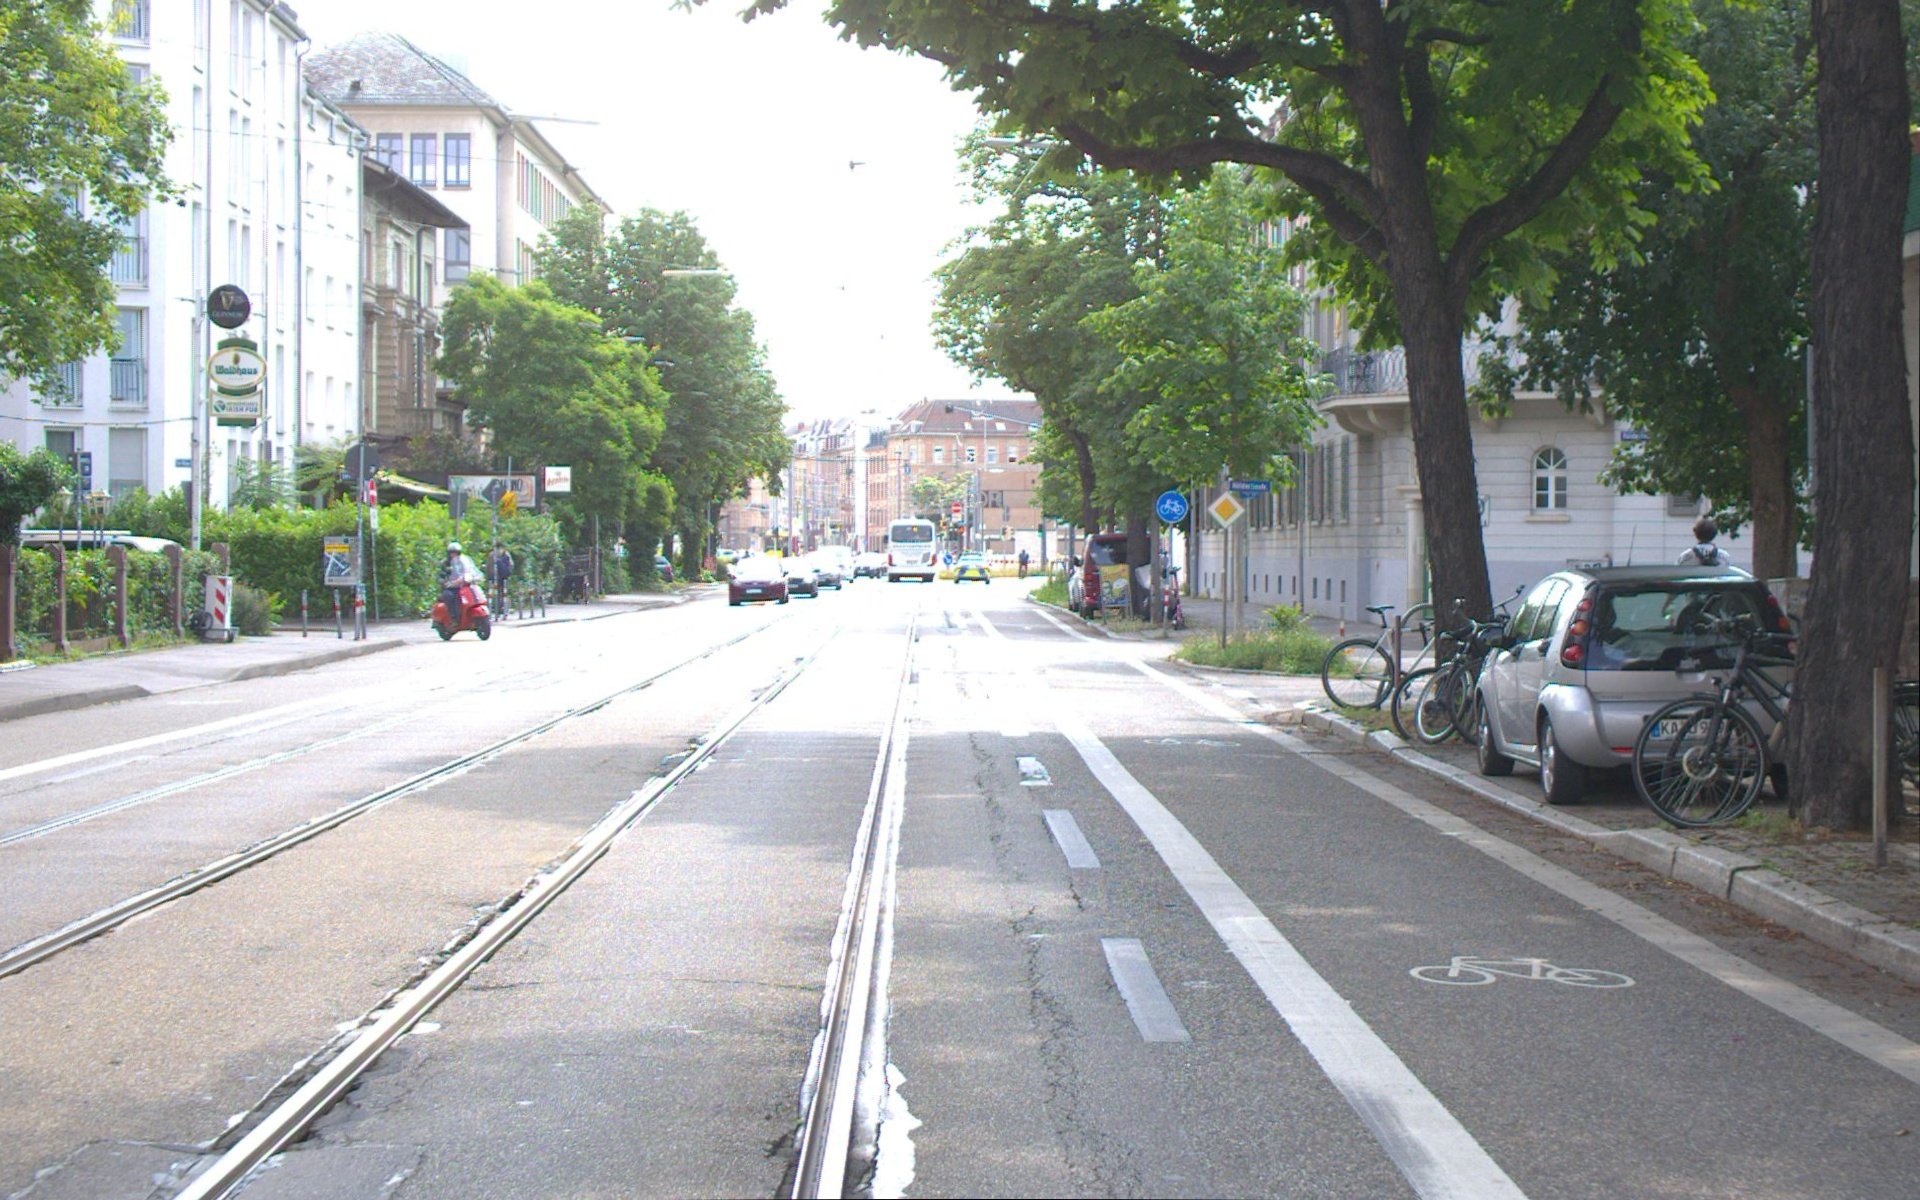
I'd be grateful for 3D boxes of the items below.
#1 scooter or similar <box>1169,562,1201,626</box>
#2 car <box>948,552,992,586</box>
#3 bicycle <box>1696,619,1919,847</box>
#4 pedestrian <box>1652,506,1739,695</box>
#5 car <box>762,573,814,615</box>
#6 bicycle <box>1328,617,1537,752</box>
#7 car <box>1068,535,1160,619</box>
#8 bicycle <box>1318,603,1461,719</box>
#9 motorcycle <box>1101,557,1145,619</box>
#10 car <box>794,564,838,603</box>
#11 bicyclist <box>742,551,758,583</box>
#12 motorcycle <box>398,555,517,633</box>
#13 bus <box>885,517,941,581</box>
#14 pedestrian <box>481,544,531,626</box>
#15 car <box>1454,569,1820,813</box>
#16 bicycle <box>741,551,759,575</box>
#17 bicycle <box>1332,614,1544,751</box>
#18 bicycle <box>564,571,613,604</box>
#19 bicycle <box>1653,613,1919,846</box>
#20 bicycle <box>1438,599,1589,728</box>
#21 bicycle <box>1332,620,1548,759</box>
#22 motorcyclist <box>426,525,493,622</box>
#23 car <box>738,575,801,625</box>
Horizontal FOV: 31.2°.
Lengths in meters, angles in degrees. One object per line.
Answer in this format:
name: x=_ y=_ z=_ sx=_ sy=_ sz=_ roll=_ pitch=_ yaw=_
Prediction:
scooter or similar: x=4.508 y=-0.128 z=68.959 sx=0.532 sy=1.247 sz=1.720 roll=0 pitch=0 yaw=0
car: x=0.519 y=-1.635 z=179.078 sx=2.130 sy=1.678 sz=4.103 roll=1 pitch=1 yaw=-1
bicycle: x=4.619 y=0.684 z=17.898 sx=1.488 sy=1.149 sz=0.518 roll=0 pitch=1 yaw=6
pedestrian: x=7.239 y=-0.001 z=33.873 sx=0.617 sy=1.827 sz=1.030 roll=0 pitch=1 yaw=0
car: x=-6.002 y=-0.213 z=120.139 sx=1.628 sy=1.402 sz=4.129 roll=1 pitch=1 yaw=0
bicycle: x=3.816 y=0.682 z=27.830 sx=1.647 sy=1.067 sz=0.348 roll=0 pitch=0 yaw=4
car: x=3.618 y=-0.552 z=81.380 sx=1.895 sy=1.934 sz=4.951 roll=0 pitch=1 yaw=-1
bicycle: x=4.024 y=0.565 z=32.255 sx=1.268 sy=1.062 sz=0.478 roll=0 pitch=1 yaw=-1
motorcycle: x=3.554 y=-0.264 z=75.030 sx=0.857 sy=1.317 sz=2.445 roll=0 pitch=0 yaw=0
car: x=-5.929 y=-0.694 z=142.214 sx=1.727 sy=1.535 sz=4.277 roll=-1 pitch=1 yaw=-1
bicyclist: x=-10.264 y=-1.622 z=168.128 sx=0.599 sy=1.487 sz=0.882 roll=-5 pitch=1 yaw=2
motorcycle: x=-8.899 y=-0.110 z=60.893 sx=2.085 sy=1.355 sz=0.740 roll=1 pitch=1 yaw=30
bus: x=-2.611 y=-2.740 z=188.661 sx=2.917 sy=3.317 sz=12.206 roll=1 pitch=0 yaw=-1
pedestrian: x=-10.742 y=-0.354 z=81.348 sx=1.059 sy=1.911 sz=0.829 roll=0 pitch=0 yaw=1
car: x=4.337 y=0.529 z=22.557 sx=1.585 sy=1.440 sz=3.898 roll=0 pitch=1 yaw=-1
bicycle: x=-10.280 y=-1.796 z=168.148 sx=0.602 sy=1.093 sz=2.022 roll=-5 pitch=1 yaw=2
bicycle: x=3.807 y=0.654 z=27.431 sx=1.647 sy=1.067 sz=0.348 roll=0 pitch=0 yaw=4
bicycle: x=-11.414 y=-0.393 z=105.729 sx=1.142 sy=0.905 sz=2.989 roll=3 pitch=1 yaw=0
bicycle: x=4.513 y=0.687 z=18.502 sx=1.488 sy=1.216 sz=0.518 roll=0 pitch=0 yaw=6
bicycle: x=5.166 y=0.577 z=32.201 sx=0.584 sy=1.154 sz=1.837 roll=0 pitch=1 yaw=-19
bicycle: x=3.772 y=0.702 z=27.066 sx=1.647 sy=1.067 sz=0.348 roll=0 pitch=0 yaw=3
motorcyclist: x=-8.863 y=-0.470 z=60.871 sx=0.920 sy=1.708 sz=0.740 roll=1 pitch=1 yaw=31
car: x=-5.779 y=-0.010 z=104.490 sx=1.594 sy=1.435 sz=3.936 roll=-1 pitch=1 yaw=1
